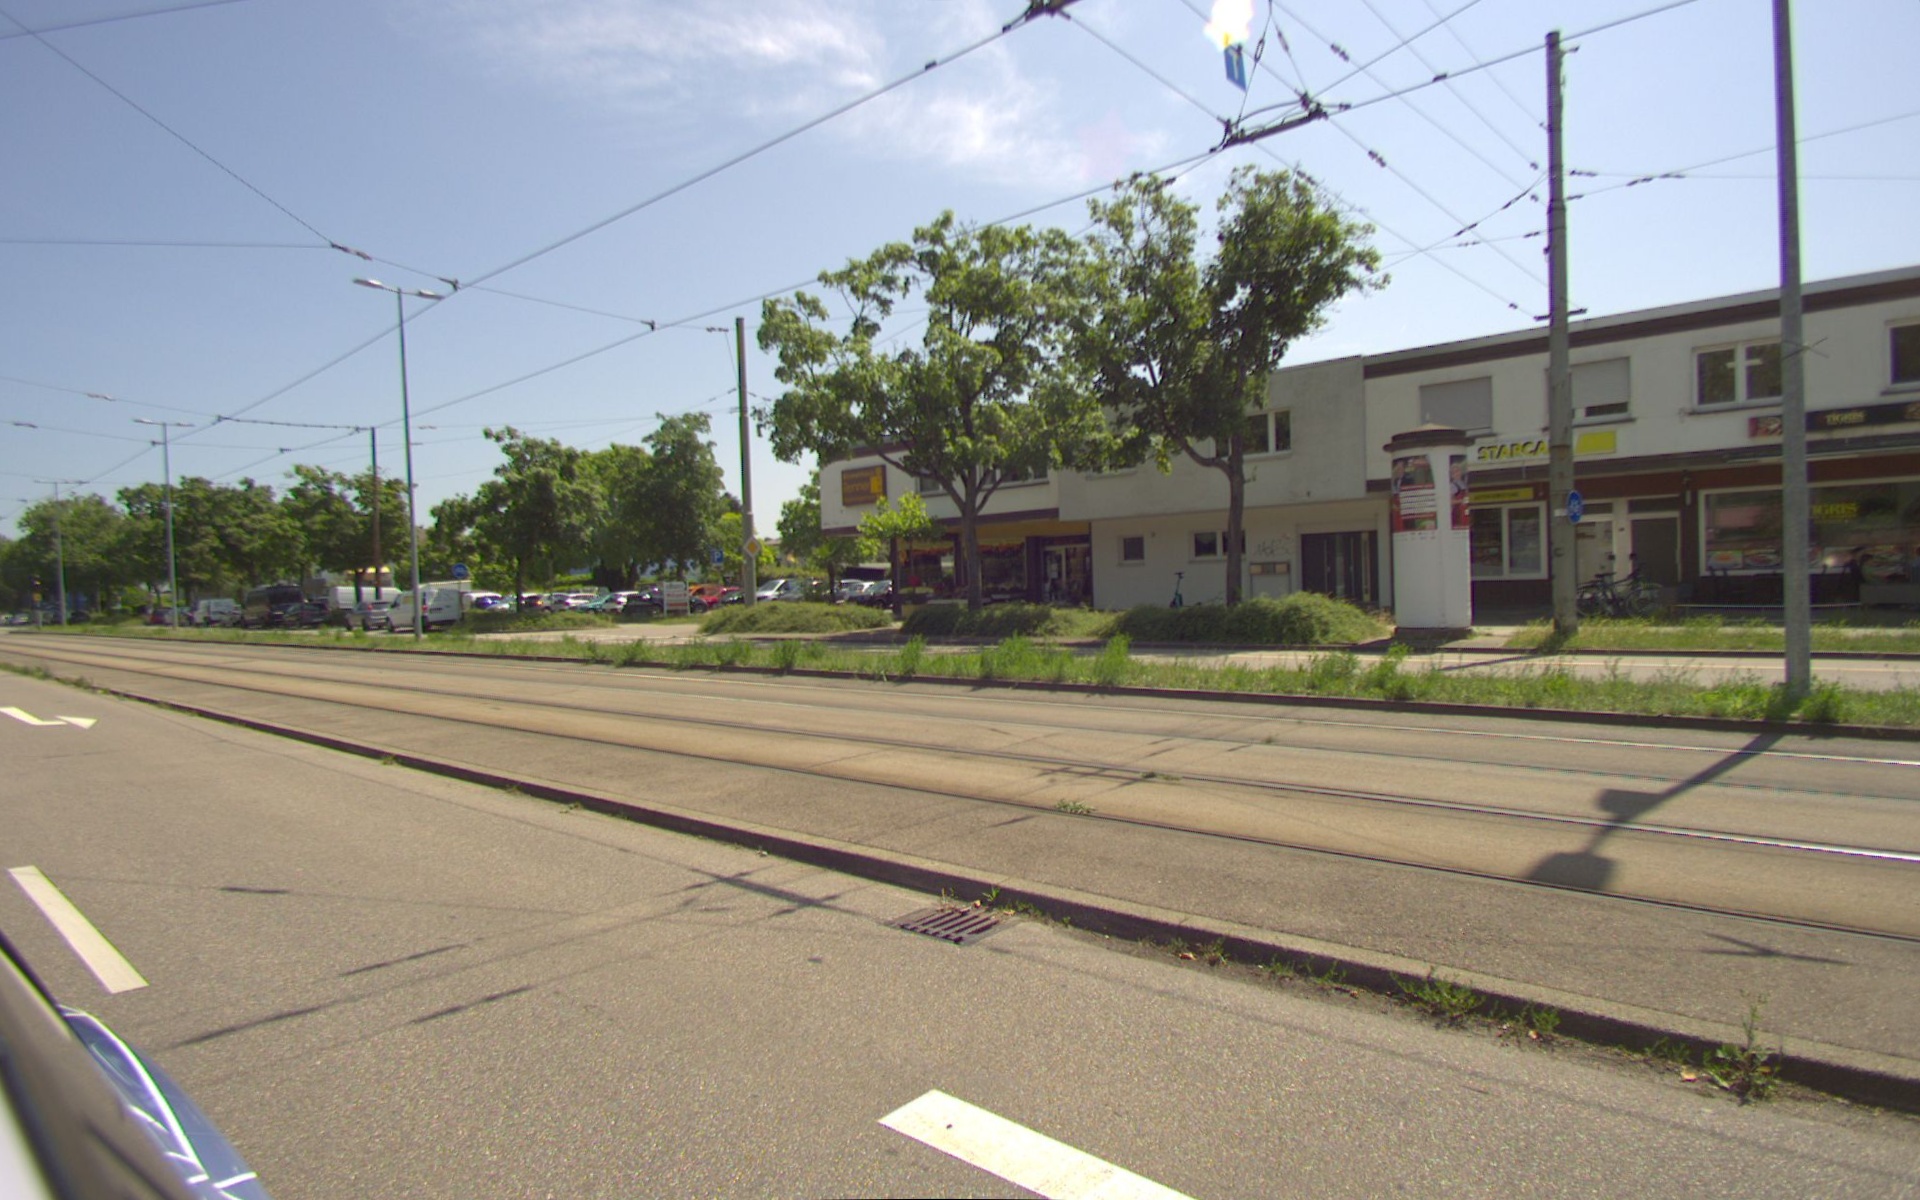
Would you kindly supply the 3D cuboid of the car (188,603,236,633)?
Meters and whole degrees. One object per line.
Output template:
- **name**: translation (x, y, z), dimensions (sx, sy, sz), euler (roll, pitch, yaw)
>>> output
- **car**: translation (-52.518, 1.264, 70.988), dimensions (4.506, 1.989, 1.660), euler (-1, 1, 40)

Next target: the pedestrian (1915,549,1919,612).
- **pedestrian**: translation (19.265, -0.391, 20.018), dimensions (0.491, 1.248, 0.569), euler (-1, 1, 40)

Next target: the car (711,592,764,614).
- **car**: translation (-15.237, 0.184, 69.433), dimensions (1.504, 1.400, 3.315), euler (-1, 1, 38)

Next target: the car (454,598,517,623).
- **car**: translation (-31.439, 0.665, 67.116), dimensions (1.600, 1.517, 3.375), euler (-1, 1, 35)

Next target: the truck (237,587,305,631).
- **truck**: translation (-42.047, 0.561, 61.695), dimensions (4.926, 2.560, 2.197), euler (-1, 1, 41)

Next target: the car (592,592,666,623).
- **car**: translation (-17.826, 0.402, 54.602), dimensions (1.790, 1.502, 3.375), euler (-1, 1, 35)

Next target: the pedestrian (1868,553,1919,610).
- **pedestrian**: translation (19.282, -0.379, 20.850), dimensions (0.810, 1.136, 0.558), euler (-1, 1, 41)

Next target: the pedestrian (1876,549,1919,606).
- **pedestrian**: translation (19.841, -0.471, 21.382), dimensions (0.674, 1.172, 0.512), euler (-1, 1, 41)

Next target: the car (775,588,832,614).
- **car**: translation (-9.917, 0.041, 64.124), dimensions (1.532, 1.549, 3.450), euler (-1, 1, 38)

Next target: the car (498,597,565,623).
- **car**: translation (-25.934, 0.594, 61.290), dimensions (1.600, 1.404, 3.375), euler (-1, 1, 35)

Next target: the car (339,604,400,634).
- **car**: translation (-29.874, 0.955, 51.170), dimensions (3.568, 1.397, 1.653), euler (-1, 1, 43)

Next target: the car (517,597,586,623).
- **car**: translation (-23.753, 0.565, 58.877), dimensions (1.600, 1.404, 3.375), euler (-1, 1, 35)

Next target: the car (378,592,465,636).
- **car**: translation (-25.061, 0.644, 47.047), dimensions (4.659, 1.897, 1.973), euler (-1, 1, 41)

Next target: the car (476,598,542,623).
- **car**: translation (-27.922, 0.619, 62.662), dimensions (1.600, 1.404, 3.375), euler (-1, 1, 35)

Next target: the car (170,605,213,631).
- **car**: translation (-56.988, 1.319, 75.020), dimensions (4.199, 1.807, 1.660), euler (-1, 1, 40)

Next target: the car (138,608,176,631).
- **car**: translation (-65.220, 1.592, 82.216), dimensions (3.820, 1.716, 1.660), euler (-1, 1, 40)

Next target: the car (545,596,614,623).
- **car**: translation (-21.728, 0.539, 57.873), dimensions (1.600, 1.404, 3.375), euler (-1, 1, 35)

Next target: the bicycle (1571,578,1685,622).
- **bicycle**: translation (14.155, 0.013, 21.480), dimensions (1.958, 0.854, 0.596), euler (-1, 3, 41)

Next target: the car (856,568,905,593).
- **car**: translation (-6.865, -1.691, 87.801), dimensions (2.000, 2.029, 3.944), euler (-1, 1, 42)

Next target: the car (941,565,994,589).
- **car**: translation (0.589, -1.793, 78.554), dimensions (2.000, 1.785, 3.944), euler (-1, 1, 42)

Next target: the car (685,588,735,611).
- **car**: translation (-18.257, -0.047, 73.872), dimensions (1.504, 1.573, 3.315), euler (-1, 1, 38)

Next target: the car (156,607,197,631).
- **car**: translation (-60.345, 1.468, 77.920), dimensions (4.199, 1.807, 1.660), euler (-2, 0, 40)

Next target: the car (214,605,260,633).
- **car**: translation (-48.208, 1.268, 67.477), dimensions (3.867, 1.807, 1.660), euler (-1, 0, 41)

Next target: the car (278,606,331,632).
- **car**: translation (-37.463, 1.081, 57.784), dimensions (3.669, 1.397, 1.653), euler (-1, 1, 43)

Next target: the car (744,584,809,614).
- **car**: translation (-11.833, -0.093, 65.471), dimensions (1.811, 1.798, 3.950), euler (-1, 1, 38)

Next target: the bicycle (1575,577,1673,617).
- **bicycle**: translation (15.093, -0.062, 23.034), dimensions (1.786, 0.854, 0.523), euler (-1, 3, 41)

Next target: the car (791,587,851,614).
- **car**: translation (-8.495, 0.033, 62.079), dimensions (1.622, 1.549, 3.450), euler (-1, 1, 38)

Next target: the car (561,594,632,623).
- **car**: translation (-20.120, 0.453, 56.046), dimensions (1.595, 1.502, 3.375), euler (-1, 1, 35)

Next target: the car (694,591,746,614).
- **car**: translation (-16.900, 0.172, 71.356), dimensions (1.504, 1.469, 3.315), euler (-1, 1, 38)

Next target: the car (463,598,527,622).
- **car**: translation (-29.785, 0.643, 64.944), dimensions (1.600, 1.404, 3.375), euler (-1, 1, 35)

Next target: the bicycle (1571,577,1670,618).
- **bicycle**: translation (14.727, -0.053, 22.603), dimensions (1.786, 0.854, 0.523), euler (-1, 3, 41)

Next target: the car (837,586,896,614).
- **car**: translation (-5.630, -0.035, 61.013), dimensions (1.622, 1.549, 3.450), euler (-1, 1, 38)
